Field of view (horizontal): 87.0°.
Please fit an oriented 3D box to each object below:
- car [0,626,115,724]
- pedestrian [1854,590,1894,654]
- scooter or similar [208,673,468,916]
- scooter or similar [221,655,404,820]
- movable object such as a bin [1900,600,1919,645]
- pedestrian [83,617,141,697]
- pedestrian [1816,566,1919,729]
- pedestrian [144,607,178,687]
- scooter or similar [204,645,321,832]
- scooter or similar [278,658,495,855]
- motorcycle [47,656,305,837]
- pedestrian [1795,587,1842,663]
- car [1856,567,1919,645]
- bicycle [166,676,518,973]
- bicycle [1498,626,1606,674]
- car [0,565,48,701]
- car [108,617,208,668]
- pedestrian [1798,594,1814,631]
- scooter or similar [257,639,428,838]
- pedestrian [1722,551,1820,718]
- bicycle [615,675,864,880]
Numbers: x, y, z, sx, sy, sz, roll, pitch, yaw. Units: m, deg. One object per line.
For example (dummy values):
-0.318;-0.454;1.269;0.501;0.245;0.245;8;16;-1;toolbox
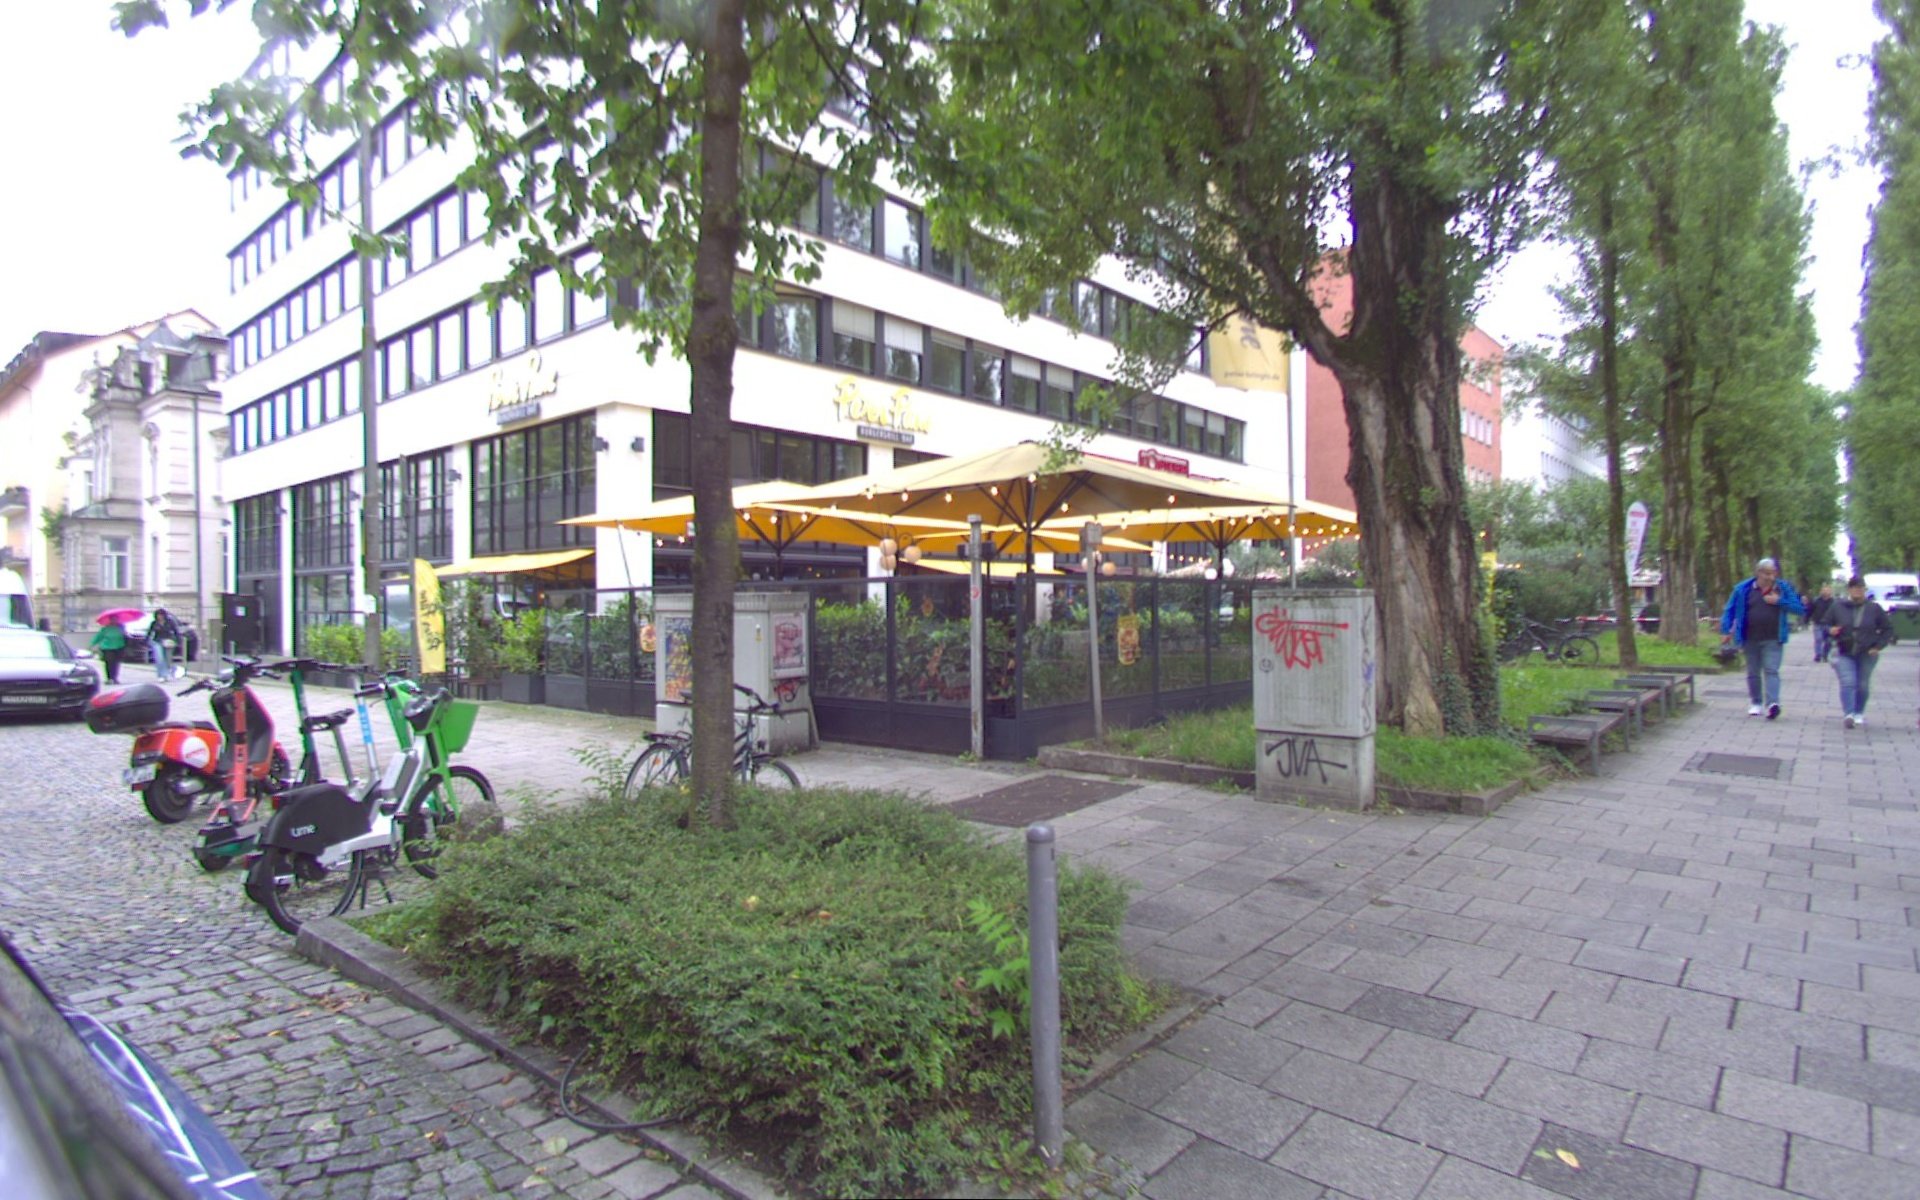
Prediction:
-14.861;1.101;15.810;4.115;1.340;1.972;-1;-1;42;car
24.586;0.578;27.230;0.637;1.705;0.736;0;-1;-45;pedestrian
-3.587;1.059;5.962;0.366;1.153;1.422;-1;0;17;scooter or similar
-4.929;1.028;7.719;1.237;1.189;0.389;-1;-1;10;scooter or similar
30.524;0.708;32.001;1.062;1.415;0.971;-1;-1;39;movable object such as a bin
-18.982;1.252;22.650;0.800;1.719;0.916;-1;-1;43;pedestrian
10.067;0.510;11.191;0.697;1.741;0.641;-1;-1;18;pedestrian
-18.154;1.050;22.989;0.567;1.761;0.651;0;-1;-43;pedestrian
-5.429;1.023;7.939;0.322;1.282;1.361;0;-1;-15;scooter or similar
-3.840;0.999;6.842;0.327;1.153;1.234;-1;-1;41;scooter or similar
-6.150;1.078;8.114;0.758;1.205;1.995;0;-2;-9;motorcycle
19.678;0.573;23.197;0.637;1.705;0.736;0;-1;-45;pedestrian
38.939;0.245;42.077;2.198;3.040;5.921;-1;-1;39;car
-3.083;1.037;5.277;0.548;1.152;1.757;-1;0;10;bicycle
11.944;0.988;20.451;1.800;0.919;0.612;-1;-1;39;bicycle
-20.295;0.653;20.398;5.844;2.510;2.039;-1;-1;40;car
-26.385;1.354;33.259;4.167;1.544;1.888;-1;-1;41;car
40.050;0.592;47.915;0.514;1.705;0.505;0;-1;-45;pedestrian
-4.438;0.943;7.352;0.324;1.282;1.247;-1;-1;10;scooter or similar
9.645;0.398;12.060;0.697;1.922;0.641;-1;-1;18;pedestrian
-1.422;1.028;6.315;1.761;1.030;0.546;-1;-1;40;bicycle
